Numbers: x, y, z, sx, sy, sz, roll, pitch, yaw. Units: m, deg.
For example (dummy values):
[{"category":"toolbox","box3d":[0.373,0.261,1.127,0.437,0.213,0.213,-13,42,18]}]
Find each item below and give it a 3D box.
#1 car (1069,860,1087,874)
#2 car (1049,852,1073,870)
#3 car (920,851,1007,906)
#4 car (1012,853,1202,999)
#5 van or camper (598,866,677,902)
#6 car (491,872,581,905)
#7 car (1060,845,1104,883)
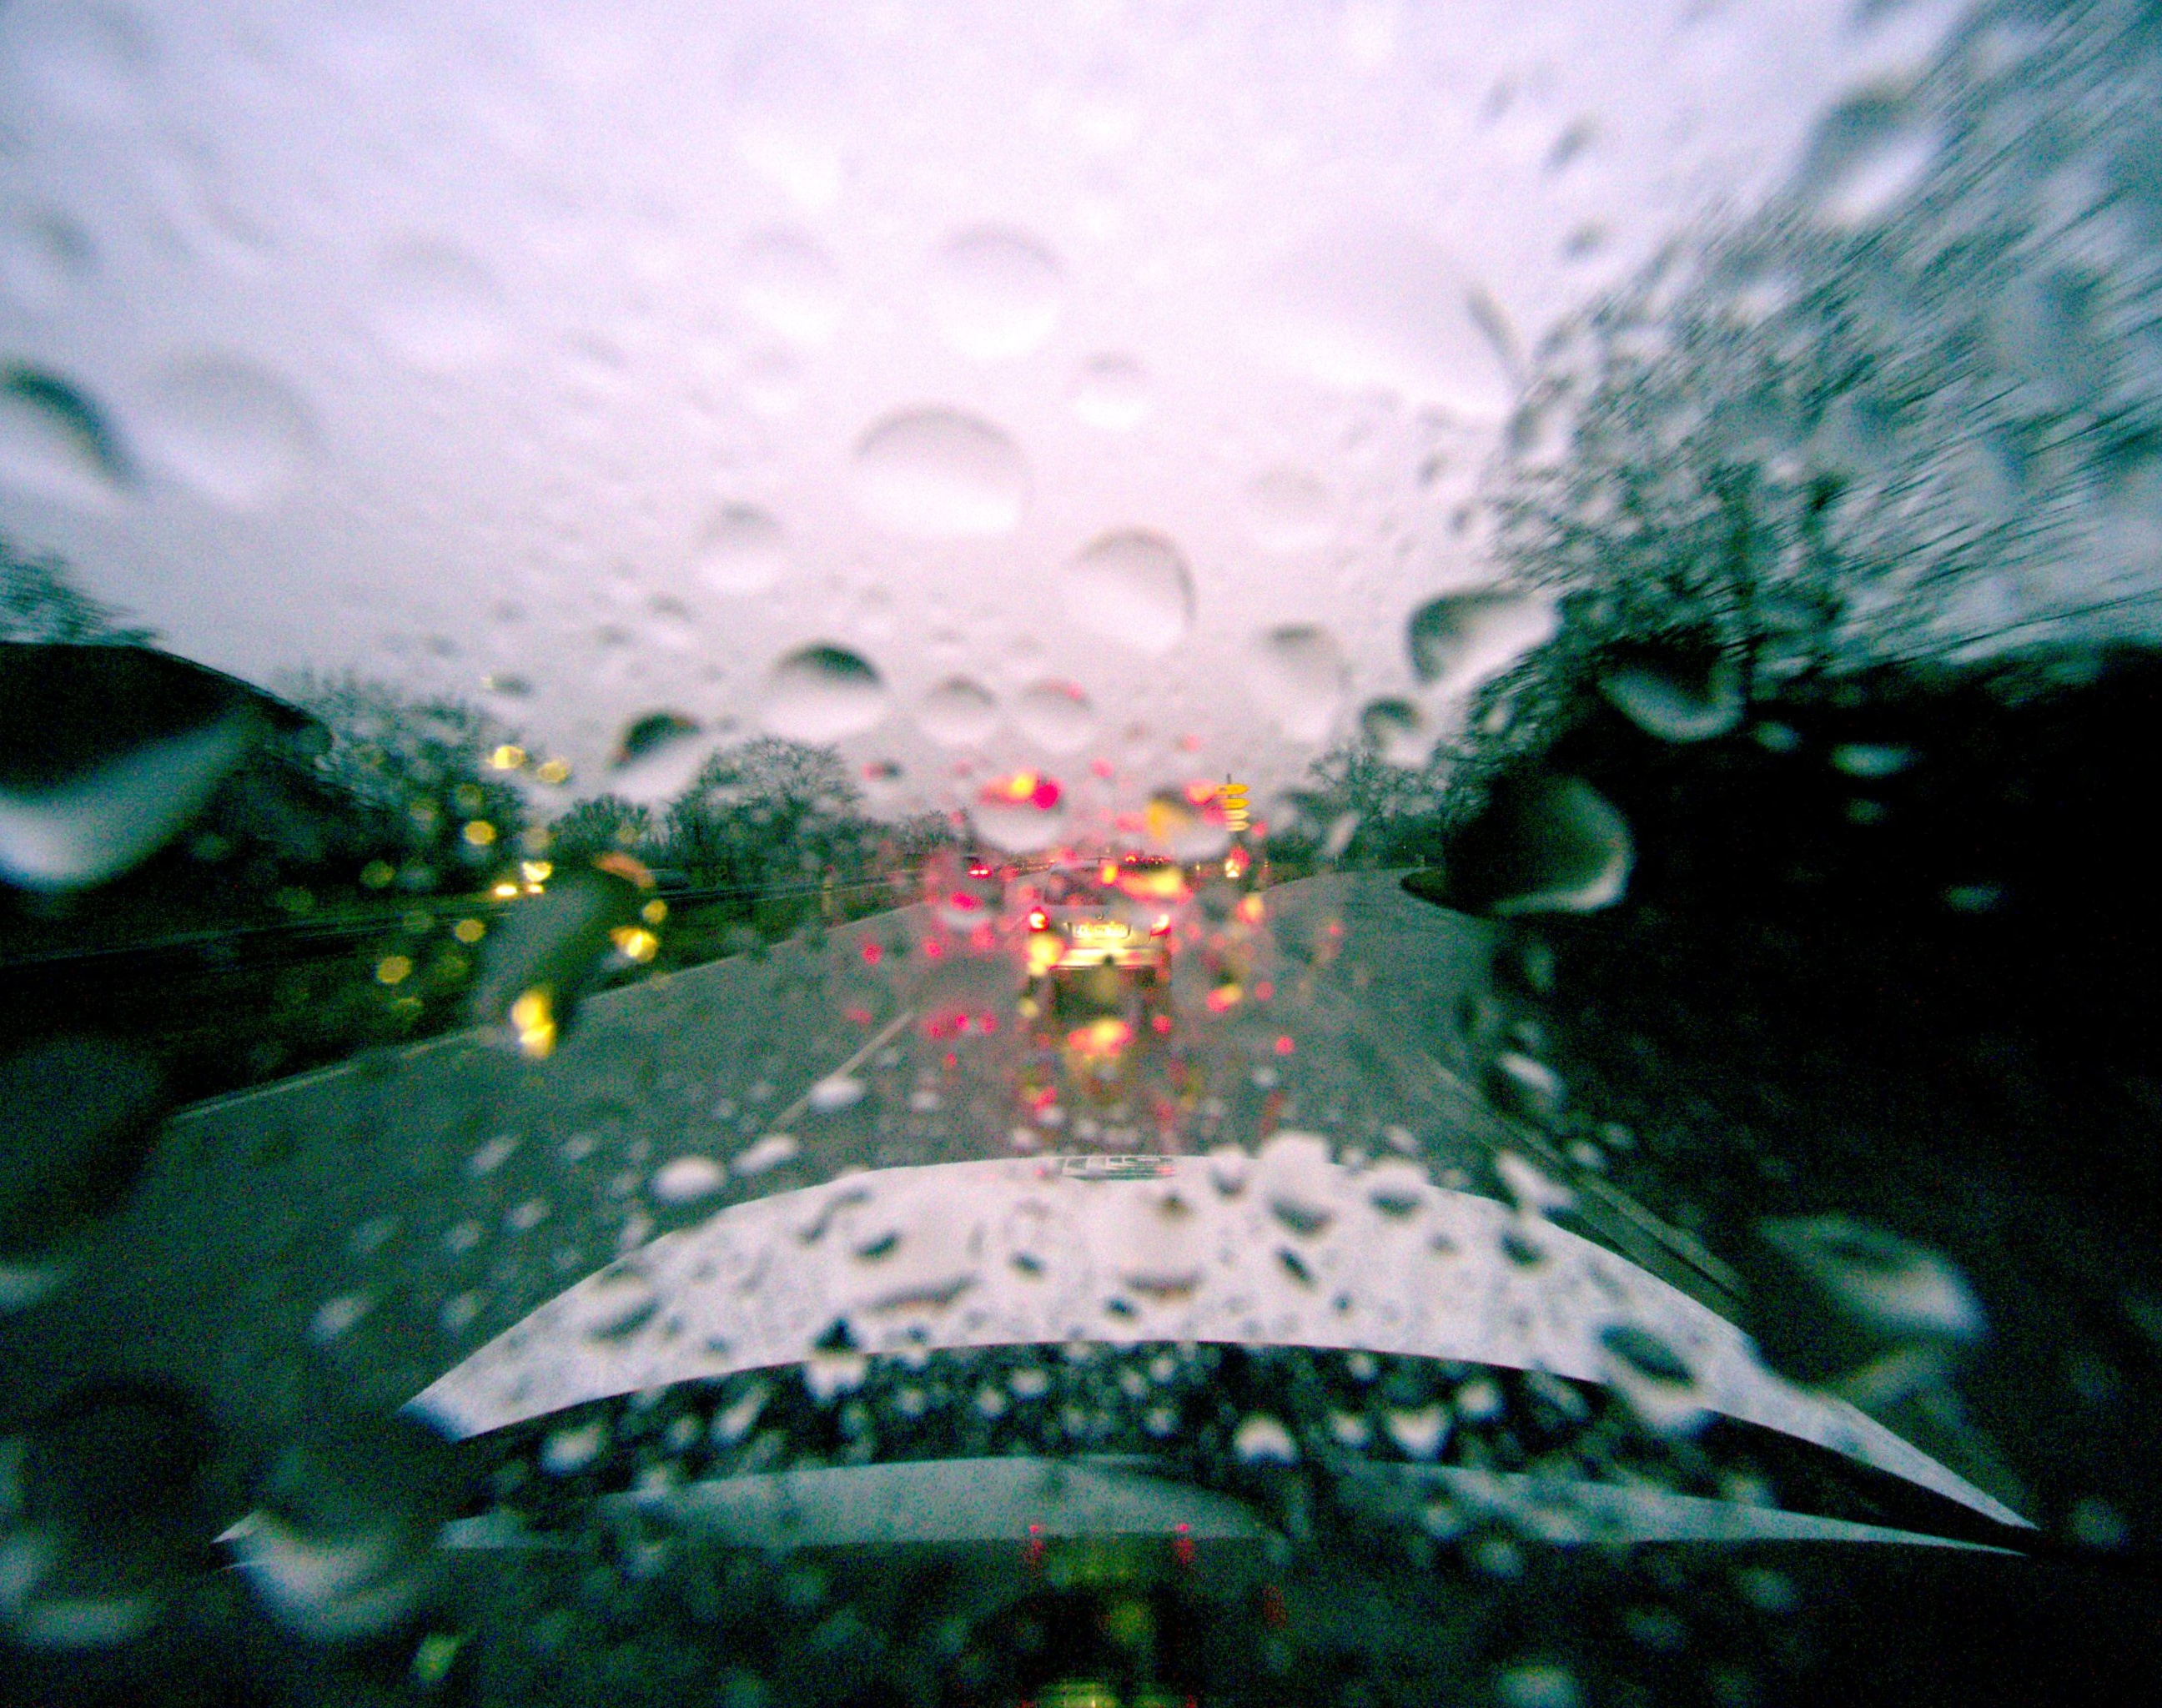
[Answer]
[{"category":"car","box3d":[-0.364,1.518,98.192,1.781,1.545,4.004,-2,-1,4]},{"category":"car","box3d":[-1.788,0.590,73.988,1.782,1.545,4.004,-2,0,4]},{"category":"car","box3d":[-3.656,0.734,26.143,1.986,1.601,4.311,0,0,2]},{"category":"car","box3d":[0.411,0.792,10.744,1.985,1.500,4.142,-2,-1,4]},{"category":"van or camper","box3d":[-23.576,1.562,43.482,1.642,1.784,4.212,-2,-1,4]},{"category":"car","box3d":[-28.943,1.796,43.412,1.779,1.609,4.677,-2,-1,-3]},{"category":"car","box3d":[0.118,0.463,41.170,1.889,1.767,4.313,-2,0,4]}]
